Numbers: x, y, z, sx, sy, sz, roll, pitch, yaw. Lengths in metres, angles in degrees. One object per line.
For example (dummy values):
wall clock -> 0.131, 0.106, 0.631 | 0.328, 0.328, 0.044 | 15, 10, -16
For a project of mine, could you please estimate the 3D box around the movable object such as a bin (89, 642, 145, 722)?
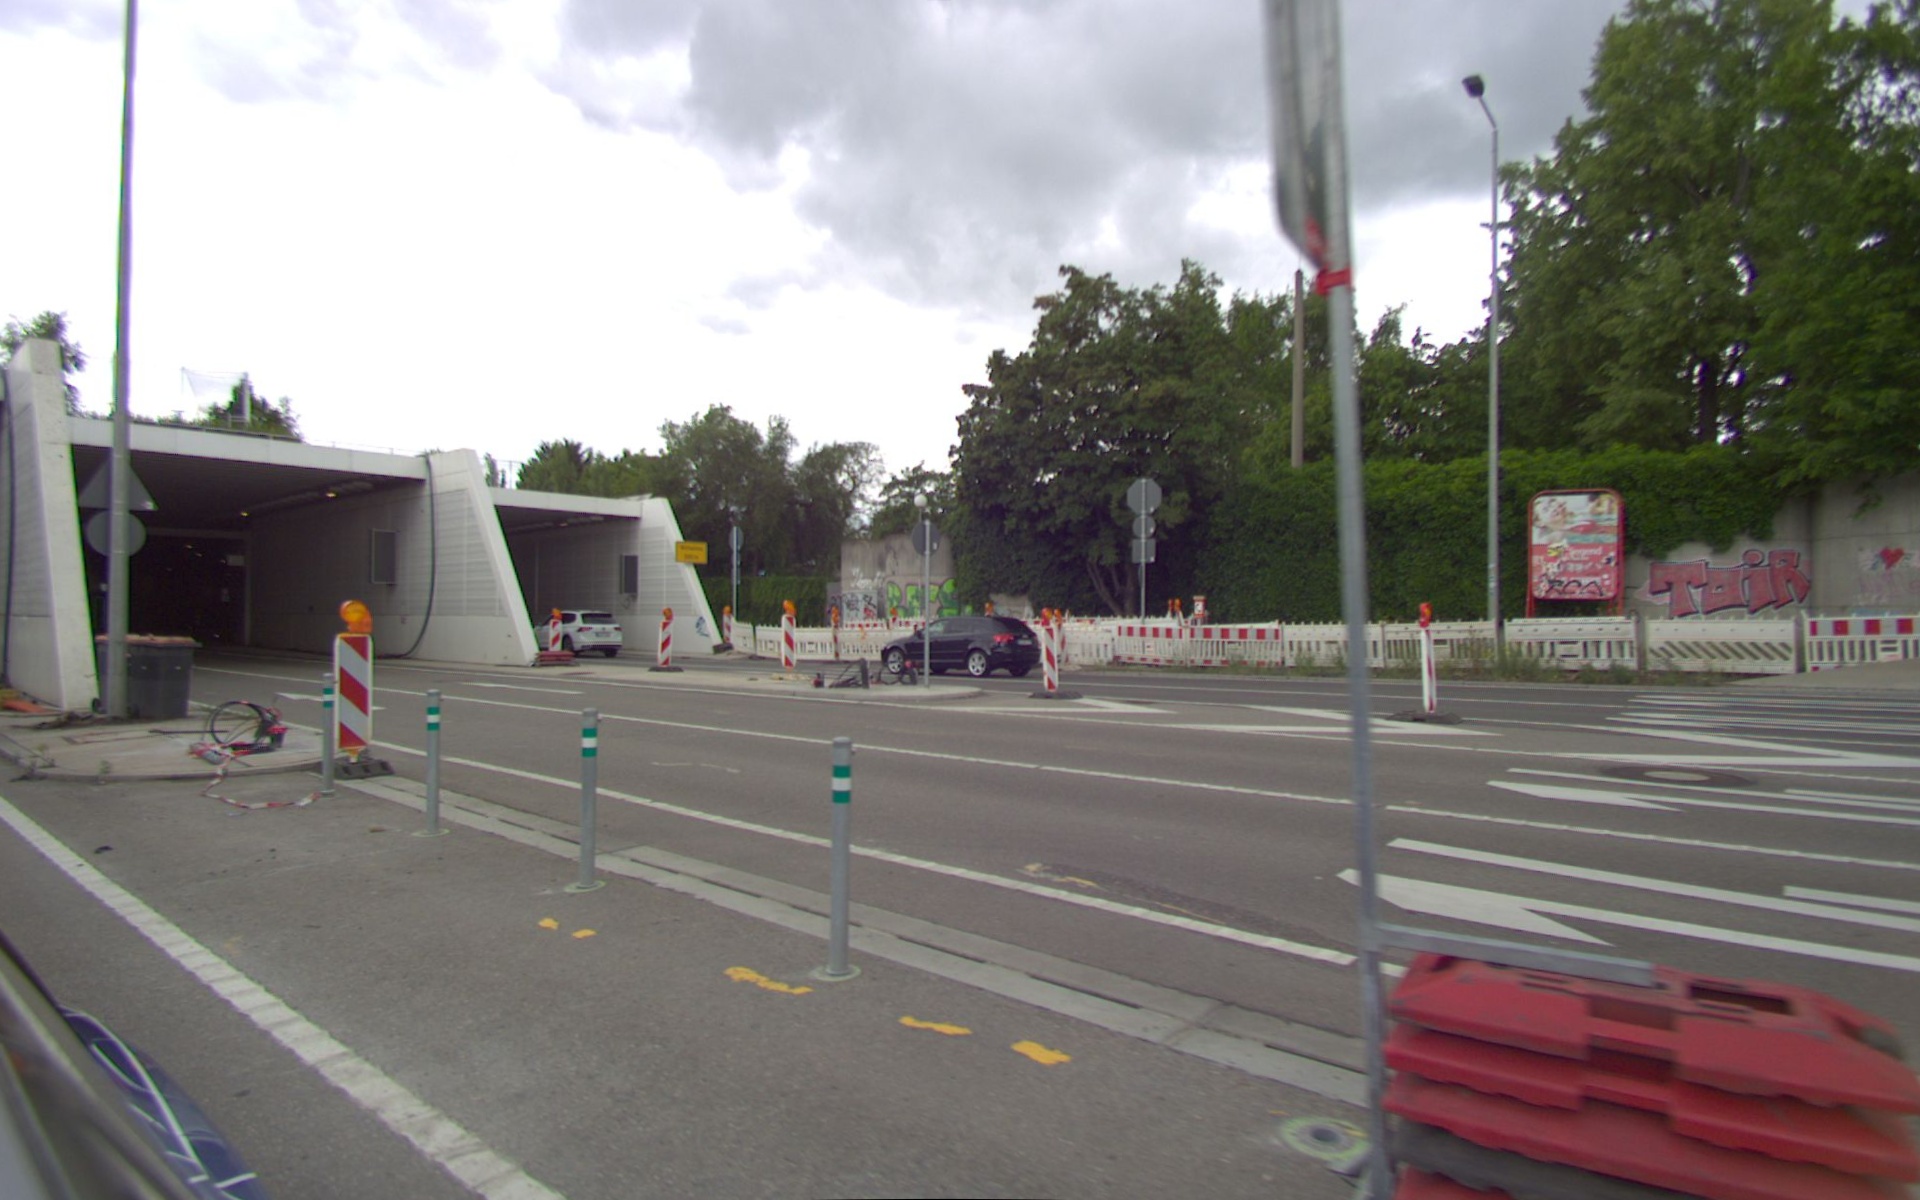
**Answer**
movable object such as a bin -> -11.466, 1.102, 13.761 | 0.422, 1.024, 0.484 | -1, 0, 35

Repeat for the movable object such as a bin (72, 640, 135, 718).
movable object such as a bin -> -11.880, 1.085, 14.039 | 0.546, 1.016, 0.547 | -1, 0, 36

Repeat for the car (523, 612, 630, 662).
car -> -13.889, 1.302, 36.553 | 4.374, 1.674, 1.827 | -1, -1, 42

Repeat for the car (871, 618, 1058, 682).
car -> 0.050, 1.125, 23.947 | 4.190, 1.360, 1.845 | -1, -1, 39
